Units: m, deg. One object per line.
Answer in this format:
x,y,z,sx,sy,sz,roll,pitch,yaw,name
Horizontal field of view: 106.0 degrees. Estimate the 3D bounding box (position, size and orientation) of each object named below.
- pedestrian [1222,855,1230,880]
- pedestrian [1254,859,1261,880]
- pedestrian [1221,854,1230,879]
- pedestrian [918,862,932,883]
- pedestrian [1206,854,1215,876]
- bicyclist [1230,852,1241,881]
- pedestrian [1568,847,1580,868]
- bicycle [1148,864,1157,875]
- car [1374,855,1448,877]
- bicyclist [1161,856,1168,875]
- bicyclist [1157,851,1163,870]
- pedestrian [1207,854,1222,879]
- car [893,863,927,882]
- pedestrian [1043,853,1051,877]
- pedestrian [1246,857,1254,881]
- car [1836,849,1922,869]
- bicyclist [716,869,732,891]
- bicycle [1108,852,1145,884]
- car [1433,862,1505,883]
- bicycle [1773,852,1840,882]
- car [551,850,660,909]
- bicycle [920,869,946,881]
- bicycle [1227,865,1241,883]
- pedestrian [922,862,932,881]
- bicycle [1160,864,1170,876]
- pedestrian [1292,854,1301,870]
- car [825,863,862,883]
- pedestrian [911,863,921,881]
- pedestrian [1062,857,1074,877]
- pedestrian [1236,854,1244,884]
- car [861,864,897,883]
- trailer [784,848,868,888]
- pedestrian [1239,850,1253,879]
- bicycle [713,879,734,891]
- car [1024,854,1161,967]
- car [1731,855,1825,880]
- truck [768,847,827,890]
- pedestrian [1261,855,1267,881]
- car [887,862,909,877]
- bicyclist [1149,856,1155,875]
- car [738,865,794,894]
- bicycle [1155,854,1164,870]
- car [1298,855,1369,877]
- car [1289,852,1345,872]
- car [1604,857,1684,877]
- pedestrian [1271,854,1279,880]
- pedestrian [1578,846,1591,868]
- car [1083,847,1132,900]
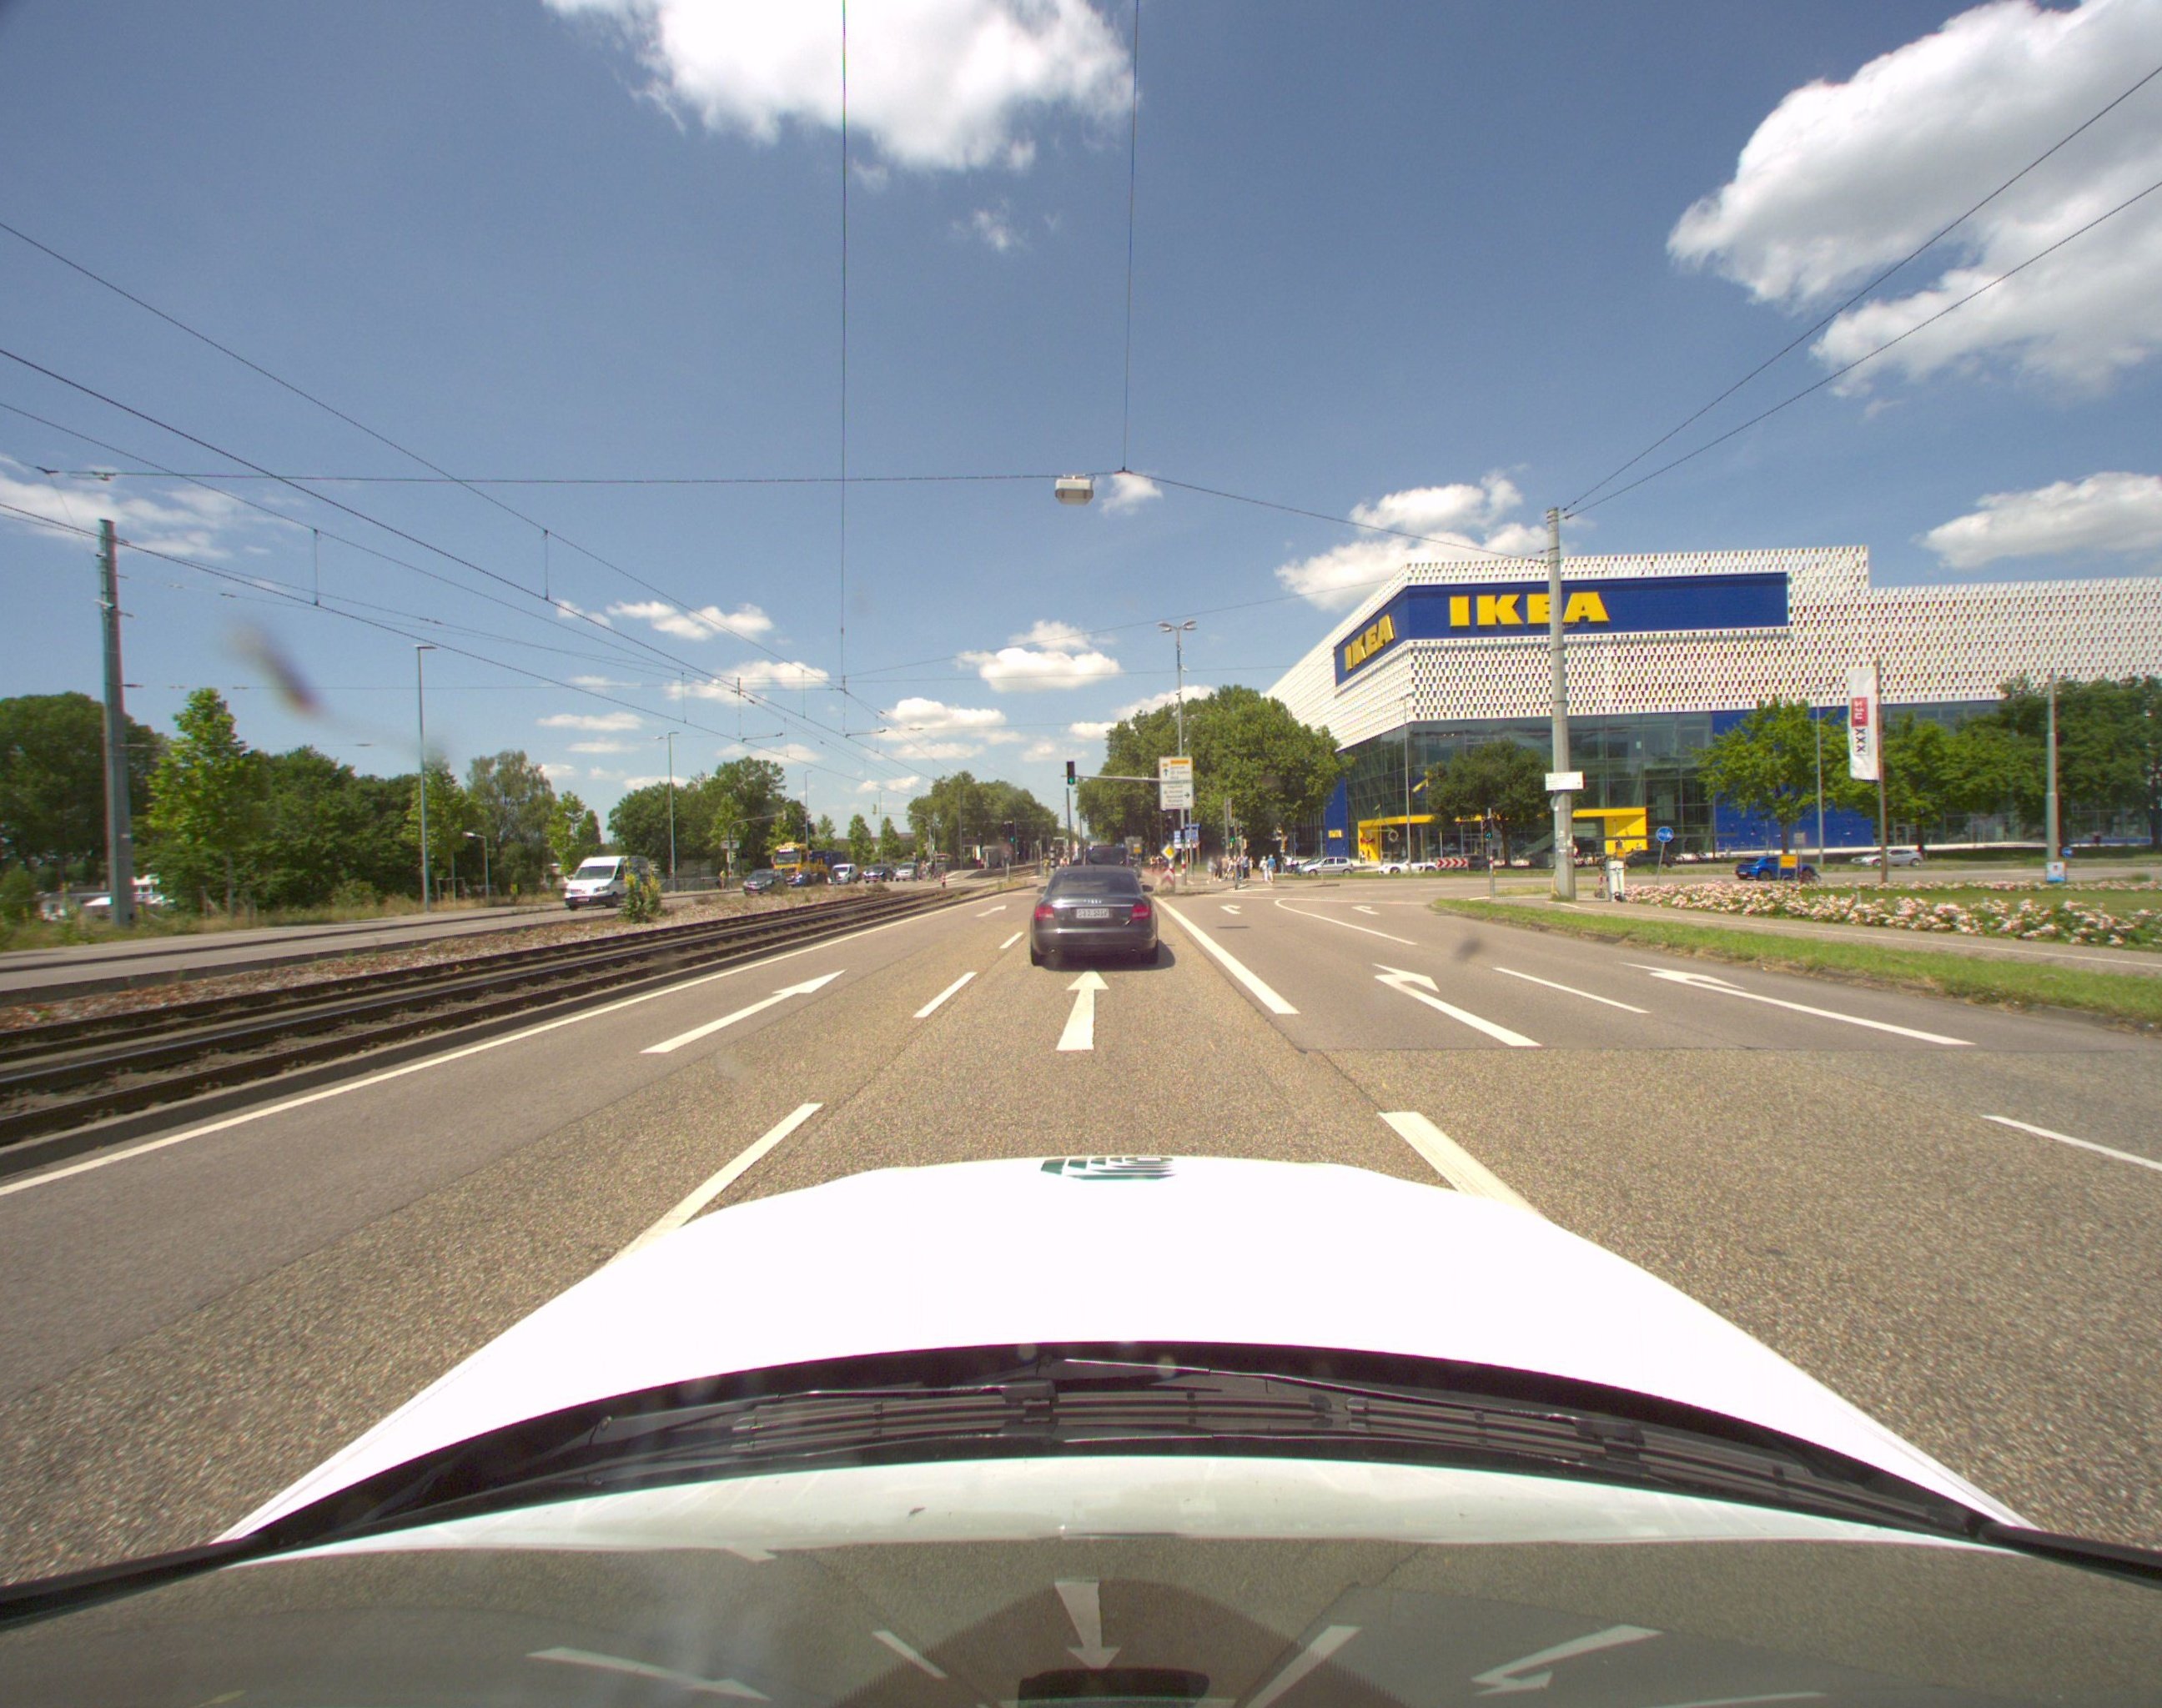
9.586,0.891,53.921,0.443,1.635,0.430,-1,-1,4,pedestrian
11.171,0.994,51.530,0.371,1.304,0.365,-1,-1,4,pedestrian
9.580,0.825,53.900,0.551,1.635,0.433,-1,-1,4,pedestrian
-13.444,1.585,70.184,0.816,1.720,0.779,-1,-1,24,pedestrian
8.975,0.778,56.455,0.490,1.520,0.710,-1,-1,19,pedestrian
9.385,0.766,49.430,0.525,1.764,0.831,-1,-1,15,bicyclist
46.749,0.304,77.235,0.707,2.014,0.825,-1,0,4,pedestrian
6.770,1.456,76.786,0.685,0.993,2.753,-1,0,2,bicycle
23.299,0.857,57.599,4.476,1.486,2.003,0,0,5,car
7.323,1.017,71.200,0.526,1.676,1.088,-1,-1,2,bicyclist
7.869,0.638,80.970,0.527,1.789,1.088,-1,-1,2,bicyclist
8.660,0.806,52.797,0.706,1.635,0.711,-1,-1,27,pedestrian
-15.602,1.669,74.539,1.814,1.670,4.466,0,0,4,car
-2.974,0.955,71.108,0.683,2.014,0.572,-1,-1,-3,pedestrian
11.862,1.055,57.132,0.518,1.670,0.495,-1,-1,5,pedestrian
61.363,0.352,62.676,4.476,1.486,2.003,0,0,5,car
-29.422,2.154,67.121,1.116,1.774,0.340,-1,-1,-3,bicyclist
2.963,0.876,52.528,1.982,2.014,4.010,-1,0,9,bicycle
29.016,1.370,61.070,4.476,1.486,2.003,-1,0,5,car
36.677,0.655,41.203,2.410,1.481,0.990,-1,-1,6,bicycle
-23.566,1.198,40.731,2.241,2.589,6.221,-4,0,-6,car
-12.067,1.727,66.612,2.055,0.925,0.751,-1,-1,-9,bicycle
9.296,1.187,49.343,0.654,1.022,1.869,-1,0,15,bicycle
-13.006,1.465,68.735,0.683,1.564,0.572,-1,-1,-2,pedestrian
7.318,1.354,71.082,0.685,1.006,2.753,-1,0,2,bicycle
19.830,0.731,74.933,0.698,1.544,0.681,-1,-1,21,pedestrian
-21.260,1.678,73.030,1.815,1.670,4.465,0,0,3,car
-13.689,1.516,67.637,0.683,1.443,0.572,-1,-1,-2,pedestrian
-1.054,1.038,65.199,0.734,1.556,0.612,-1,-1,39,pedestrian
8.870,0.842,45.346,0.379,1.635,0.377,-1,-1,4,pedestrian
-18.379,1.771,74.257,1.814,1.670,4.467,0,0,4,car
-24.616,1.260,79.846,2.757,3.518,15.883,-1,0,2,trailer
10.627,0.666,52.475,0.678,1.846,0.711,-1,-1,27,pedestrian
-29.433,2.535,67.112,1.487,0.987,0.485,-1,-1,-3,bicycle
0.221,0.746,12.790,1.786,1.455,4.002,-1,0,2,car
41.591,0.784,48.664,3.966,1.454,1.847,0,0,7,car
-24.861,1.212,71.722,2.757,3.569,6.442,-1,0,1,truck
11.537,0.864,51.417,0.319,1.635,0.377,-1,-1,4,pedestrian
-23.715,1.944,105.490,1.811,1.883,4.001,-1,0,1,car
6.760,1.119,77.319,0.526,1.789,1.088,-1,-1,2,bicyclist
-19.631,1.575,50.972,1.817,1.670,4.459,0,0,-1,car
7.859,0.791,81.419,0.685,1.519,2.753,-1,0,2,bicycle
17.863,0.851,57.796,4.476,1.486,2.003,0,0,5,car
17.711,0.583,61.295,3.771,1.486,2.003,0,0,5,car
41.694,0.951,60.406,4.476,1.486,2.003,0,0,5,car
12.235,0.832,51.386,0.396,1.635,0.371,-1,-1,4,pedestrian
47.854,0.299,77.353,0.707,2.014,0.825,-1,0,4,pedestrian
1.061,0.761,32.660,1.830,1.950,4.001,-1,-1,1,car
